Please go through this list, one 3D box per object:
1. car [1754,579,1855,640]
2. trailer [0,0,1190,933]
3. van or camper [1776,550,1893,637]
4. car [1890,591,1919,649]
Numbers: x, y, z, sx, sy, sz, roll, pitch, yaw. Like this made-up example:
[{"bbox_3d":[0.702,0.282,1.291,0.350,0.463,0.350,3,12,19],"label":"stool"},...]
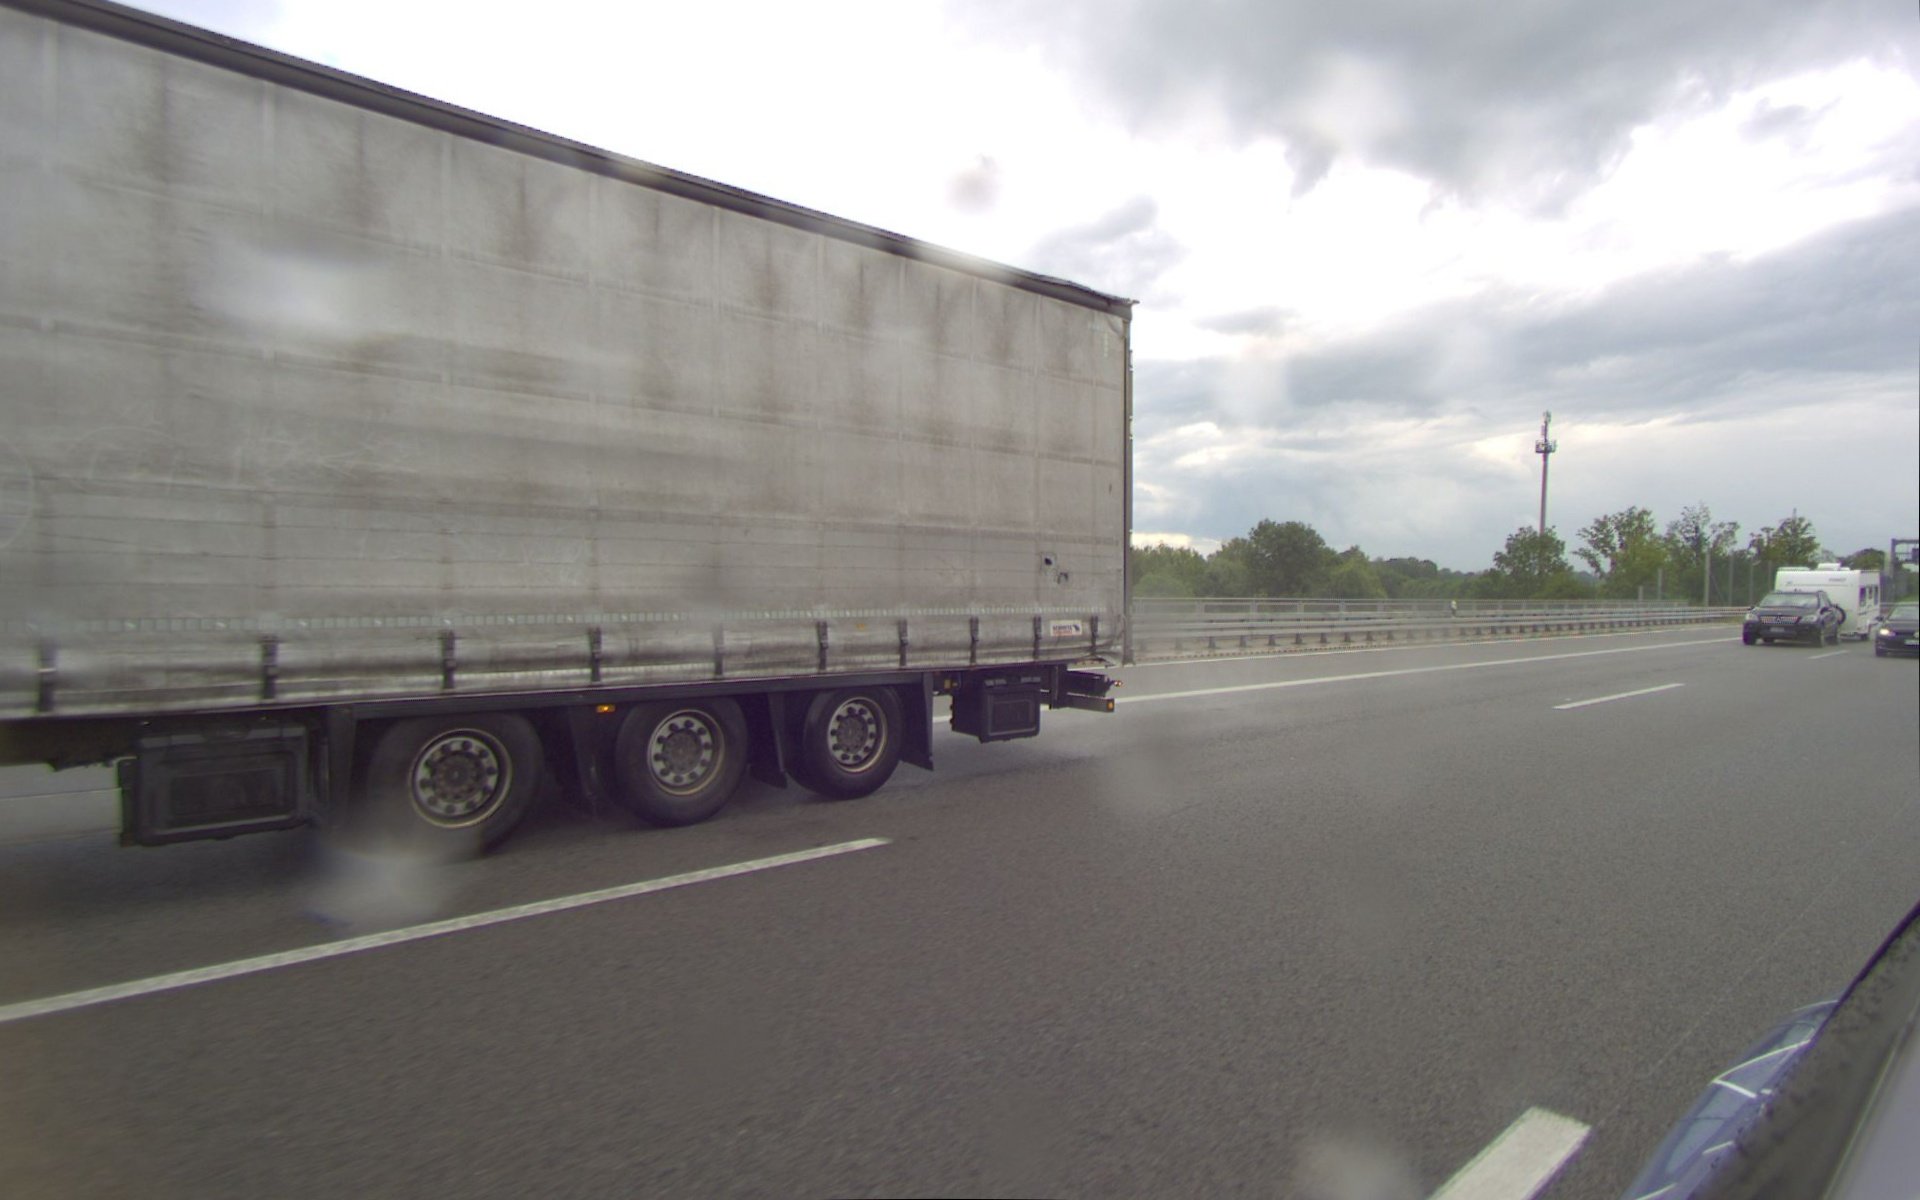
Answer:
[{"bbox_3d":[26.743,0.270,31.999,4.426,1.798,1.922,0,0,-43],"label":"car"},{"bbox_3d":[-4.045,-0.706,5.892,13.872,4.071,2.966,1,0,-42],"label":"trailer"},{"bbox_3d":[31.052,-0.207,35.847,7.086,2.773,2.387,0,0,-43],"label":"van or camper"},{"bbox_3d":[25.853,0.527,26.652,3.932,1.464,1.715,0,0,-43],"label":"car"}]
